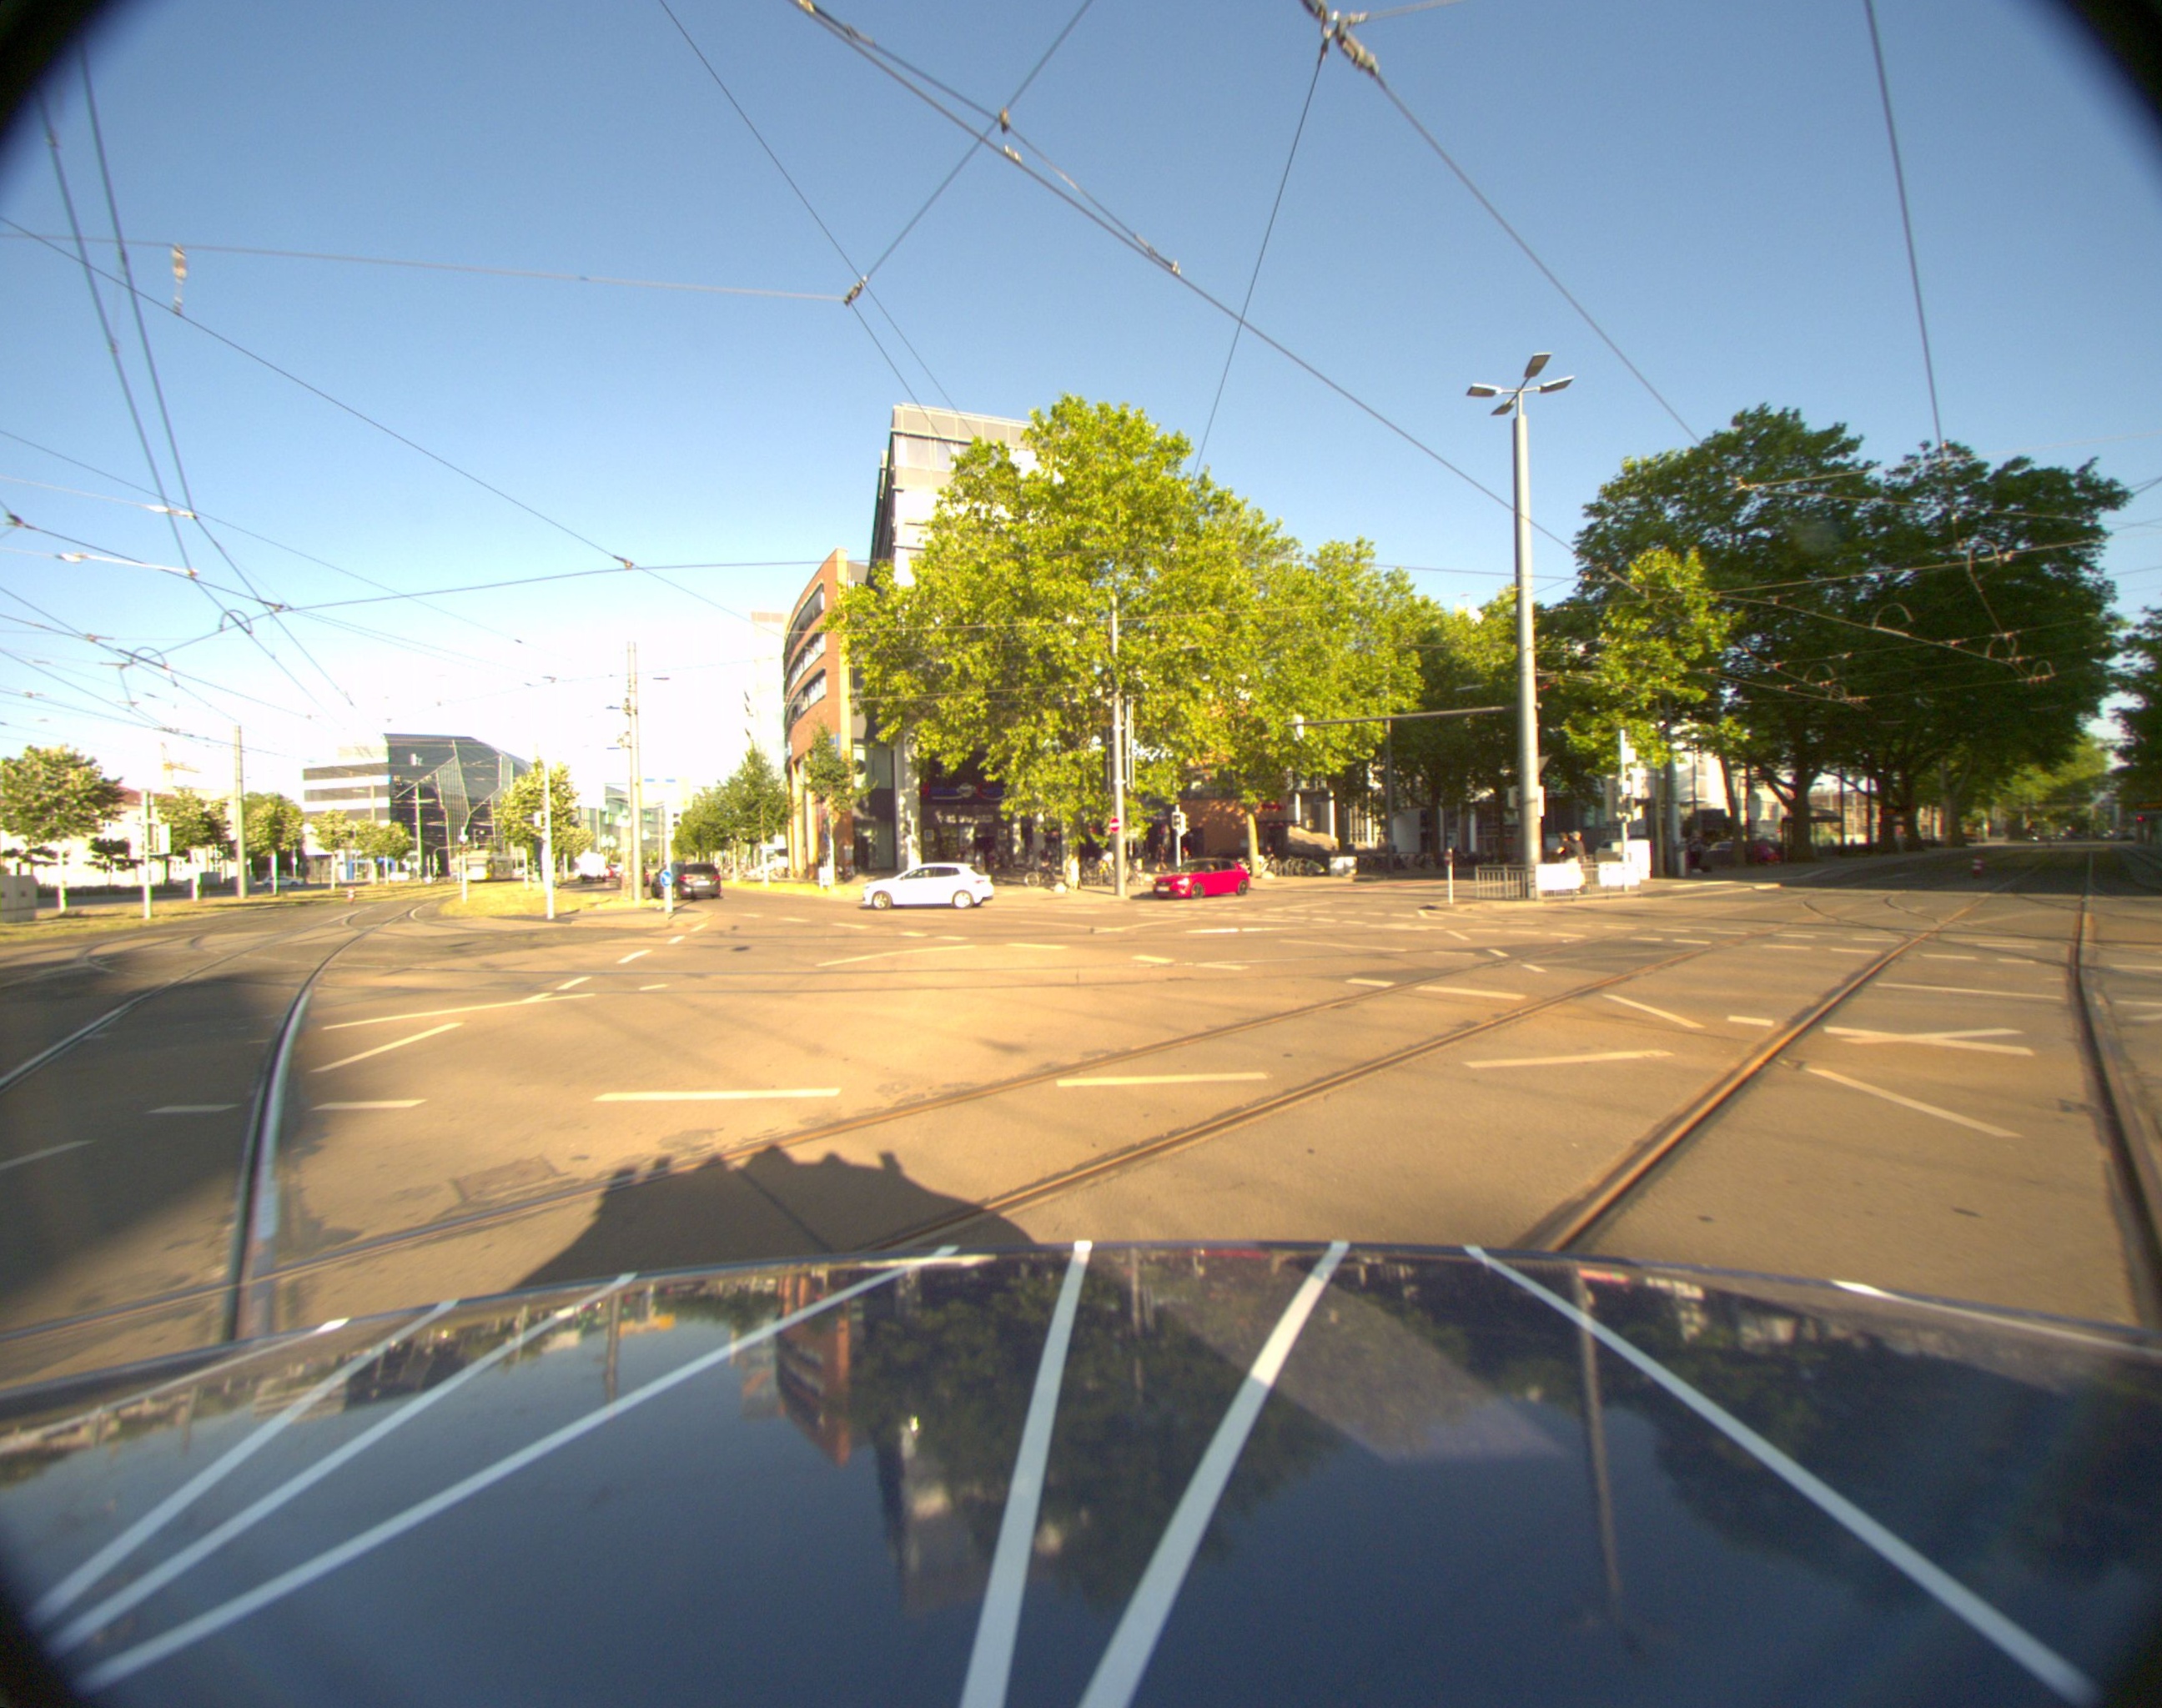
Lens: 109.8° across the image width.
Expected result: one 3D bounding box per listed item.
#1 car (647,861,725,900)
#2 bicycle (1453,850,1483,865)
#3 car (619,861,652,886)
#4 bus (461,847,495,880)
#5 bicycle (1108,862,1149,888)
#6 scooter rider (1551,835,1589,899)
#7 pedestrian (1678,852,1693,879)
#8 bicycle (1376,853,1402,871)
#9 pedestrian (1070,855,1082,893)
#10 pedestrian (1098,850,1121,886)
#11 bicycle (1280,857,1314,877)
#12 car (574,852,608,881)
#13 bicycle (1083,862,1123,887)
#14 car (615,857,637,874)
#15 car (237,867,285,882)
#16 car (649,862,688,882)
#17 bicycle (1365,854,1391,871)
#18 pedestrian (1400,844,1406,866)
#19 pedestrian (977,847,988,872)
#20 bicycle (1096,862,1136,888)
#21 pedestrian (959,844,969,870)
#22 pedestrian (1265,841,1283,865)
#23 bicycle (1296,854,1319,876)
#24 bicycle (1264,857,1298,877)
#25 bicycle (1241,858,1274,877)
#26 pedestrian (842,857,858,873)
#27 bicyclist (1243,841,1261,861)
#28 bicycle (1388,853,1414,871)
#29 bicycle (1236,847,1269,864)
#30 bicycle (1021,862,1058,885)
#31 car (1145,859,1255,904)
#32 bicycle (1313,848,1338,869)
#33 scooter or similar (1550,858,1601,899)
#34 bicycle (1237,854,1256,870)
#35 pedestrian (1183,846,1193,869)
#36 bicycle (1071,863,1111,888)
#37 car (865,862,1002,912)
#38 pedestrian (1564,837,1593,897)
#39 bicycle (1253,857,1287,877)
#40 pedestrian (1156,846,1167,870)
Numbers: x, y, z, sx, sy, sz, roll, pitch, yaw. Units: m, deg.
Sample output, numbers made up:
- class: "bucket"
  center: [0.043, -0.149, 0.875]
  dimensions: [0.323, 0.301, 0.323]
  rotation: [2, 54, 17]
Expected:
- class: "car"
  center: [-17.138, 1.114, 32.894]
  dimensions: [4.163, 1.593, 1.622]
  rotation: [-2, -1, 41]
- class: "bicycle"
  center: [28.148, 0.265, 55.240]
  dimensions: [0.579, 1.057, 1.942]
  rotation: [-2, 1, -28]
- class: "car"
  center: [-31.533, 1.365, 53.733]
  dimensions: [1.868, 1.622, 4.253]
  rotation: [-2, 0, -31]
- class: "bus"
  center: [-67.970, 1.126, 85.548]
  dimensions: [2.732, 3.388, 9.642]
  rotation: [-2, 0, -40]
- class: "bicycle"
  center: [2.163, 0.942, 34.610]
  dimensions: [1.847, 1.123, 0.773]
  rotation: [-2, 1, -41]
- class: "scooter rider"
  center: [14.367, 0.366, 22.331]
  dimensions: [0.589, 1.822, 0.761]
  rotation: [-2, 1, -32]
- class: "pedestrian"
  center: [23.303, 0.444, 29.279]
  dimensions: [0.379, 1.026, 0.405]
  rotation: [-2, 1, -44]
- class: "bicycle"
  center: [19.559, 0.503, 48.306]
  dimensions: [1.950, 1.057, 0.577]
  rotation: [-1, 1, -36]
- class: "pedestrian"
  center: [-0.210, 0.805, 31.266]
  dimensions: [0.484, 1.529, 0.572]
  rotation: [-1, 1, -2]
- class: "pedestrian"
  center: [1.398, 0.683, 37.801]
  dimensions: [0.894, 1.754, 0.730]
  rotation: [-1, -1, -20]
- class: "bicycle"
  center: [12.110, 0.692, 42.499]
  dimensions: [1.950, 1.057, 0.781]
  rotation: [-1, 1, -36]
- class: "car"
  center: [-44.772, 1.192, 69.417]
  dimensions: [2.004, 2.465, 5.959]
  rotation: [-2, 0, -38]
- class: "bicycle"
  center: [1.053, 0.958, 35.870]
  dimensions: [1.847, 1.123, 0.773]
  rotation: [-2, 1, -41]
- class: "car"
  center: [-58.295, 1.467, 97.415]
  dimensions: [1.613, 2.002, 3.880]
  rotation: [-1, 1, -19]
- class: "car"
  center: [-108.520, 2.704, 100.563]
  dimensions: [1.994, 1.849, 4.008]
  rotation: [-1, 0, 35]
- class: "car"
  center: [-34.578, 1.513, 63.687]
  dimensions: [1.869, 1.622, 4.251]
  rotation: [-2, 0, -42]
- class: "bicycle"
  center: [19.181, 0.521, 49.004]
  dimensions: [1.950, 1.057, 0.577]
  rotation: [-1, 1, -36]
- class: "pedestrian"
  center: [23.328, 0.066, 55.052]
  dimensions: [0.409, 1.546, 0.448]
  rotation: [-1, 1, 23]
- class: "pedestrian"
  center: [-6.644, 0.343, 51.236]
  dimensions: [0.596, 1.647, 0.592]
  rotation: [-1, 1, -19]
- class: "bicycle"
  center: [1.633, 0.964, 35.268]
  dimensions: [1.847, 1.123, 0.773]
  rotation: [-2, 1, -41]
- class: "pedestrian"
  center: [-7.851, 0.184, 51.060]
  dimensions: [0.593, 1.745, 0.595]
  rotation: [-1, 1, -6]
- class: "pedestrian"
  center: [12.540, -0.073, 49.472]
  dimensions: [0.877, 1.533, 0.764]
  rotation: [-2, 1, -42]
- class: "bicycle"
  center: [13.465, 0.624, 45.210]
  dimensions: [0.782, 1.182, 3.560]
  rotation: [-1, 0, 8]
- class: "bicycle"
  center: [11.375, 0.721, 43.190]
  dimensions: [1.950, 1.057, 0.781]
  rotation: [-1, 1, -36]
- class: "bicycle"
  center: [10.347, 0.765, 44.623]
  dimensions: [1.950, 1.057, 0.781]
  rotation: [-1, 1, -36]
- class: "pedestrian"
  center: [-15.548, 0.717, 51.194]
  dimensions: [0.679, 1.075, 0.778]
  rotation: [0, 1, 42]
- class: "bicyclist"
  center: [11.458, -0.194, 50.887]
  dimensions: [0.959, 1.337, 0.674]
  rotation: [-1, 1, -10]
- class: "bicycle"
  center: [20.073, 0.482, 47.663]
  dimensions: [1.950, 1.057, 0.577]
  rotation: [-1, 1, -36]
- class: "bicycle"
  center: [11.480, 0.091, 50.892]
  dimensions: [2.015, 1.061, 0.695]
  rotation: [-1, 1, -10]
- class: "bicycle"
  center: [-1.982, 0.926, 36.427]
  dimensions: [1.702, 1.030, 0.547]
  rotation: [-1, 1, -37]
- class: "car"
  center: [4.340, 0.947, 27.373]
  dimensions: [4.008, 1.419, 1.688]
  rotation: [-1, 0, -41]
- class: "bicycle"
  center: [14.598, 0.227, 45.430]
  dimensions: [0.782, 1.182, 3.560]
  rotation: [-1, 0, 8]
- class: "scooter or similar"
  center: [14.453, 0.694, 22.206]
  dimensions: [0.456, 1.172, 1.157]
  rotation: [-2, 1, -31]
- class: "bicycle"
  center: [11.912, 0.561, 54.844]
  dimensions: [0.696, 1.061, 2.013]
  rotation: [-1, 1, -7]
- class: "pedestrian"
  center: [7.803, 0.256, 55.344]
  dimensions: [0.543, 1.660, 0.570]
  rotation: [-1, 1, -7]
- class: "bicycle"
  center: [0.501, 1.009, 36.465]
  dimensions: [1.847, 1.123, 0.773]
  rotation: [-2, 1, -41]
- class: "car"
  center: [-4.654, 1.032, 24.321]
  dimensions: [3.996, 1.443, 1.636]
  rotation: [-2, 0, 3]
- class: "pedestrian"
  center: [14.998, 0.379, 22.912]
  dimensions: [0.568, 1.786, 0.673]
  rotation: [-1, 1, 20]
- class: "bicycle"
  center: [10.920, 0.741, 43.901]
  dimensions: [1.950, 1.057, 0.781]
  rotation: [-1, 1, -36]
- class: "pedestrian"
  center: [5.755, 0.266, 54.160]
  dimensions: [0.571, 1.660, 0.542]
  rotation: [-1, 1, -22]
